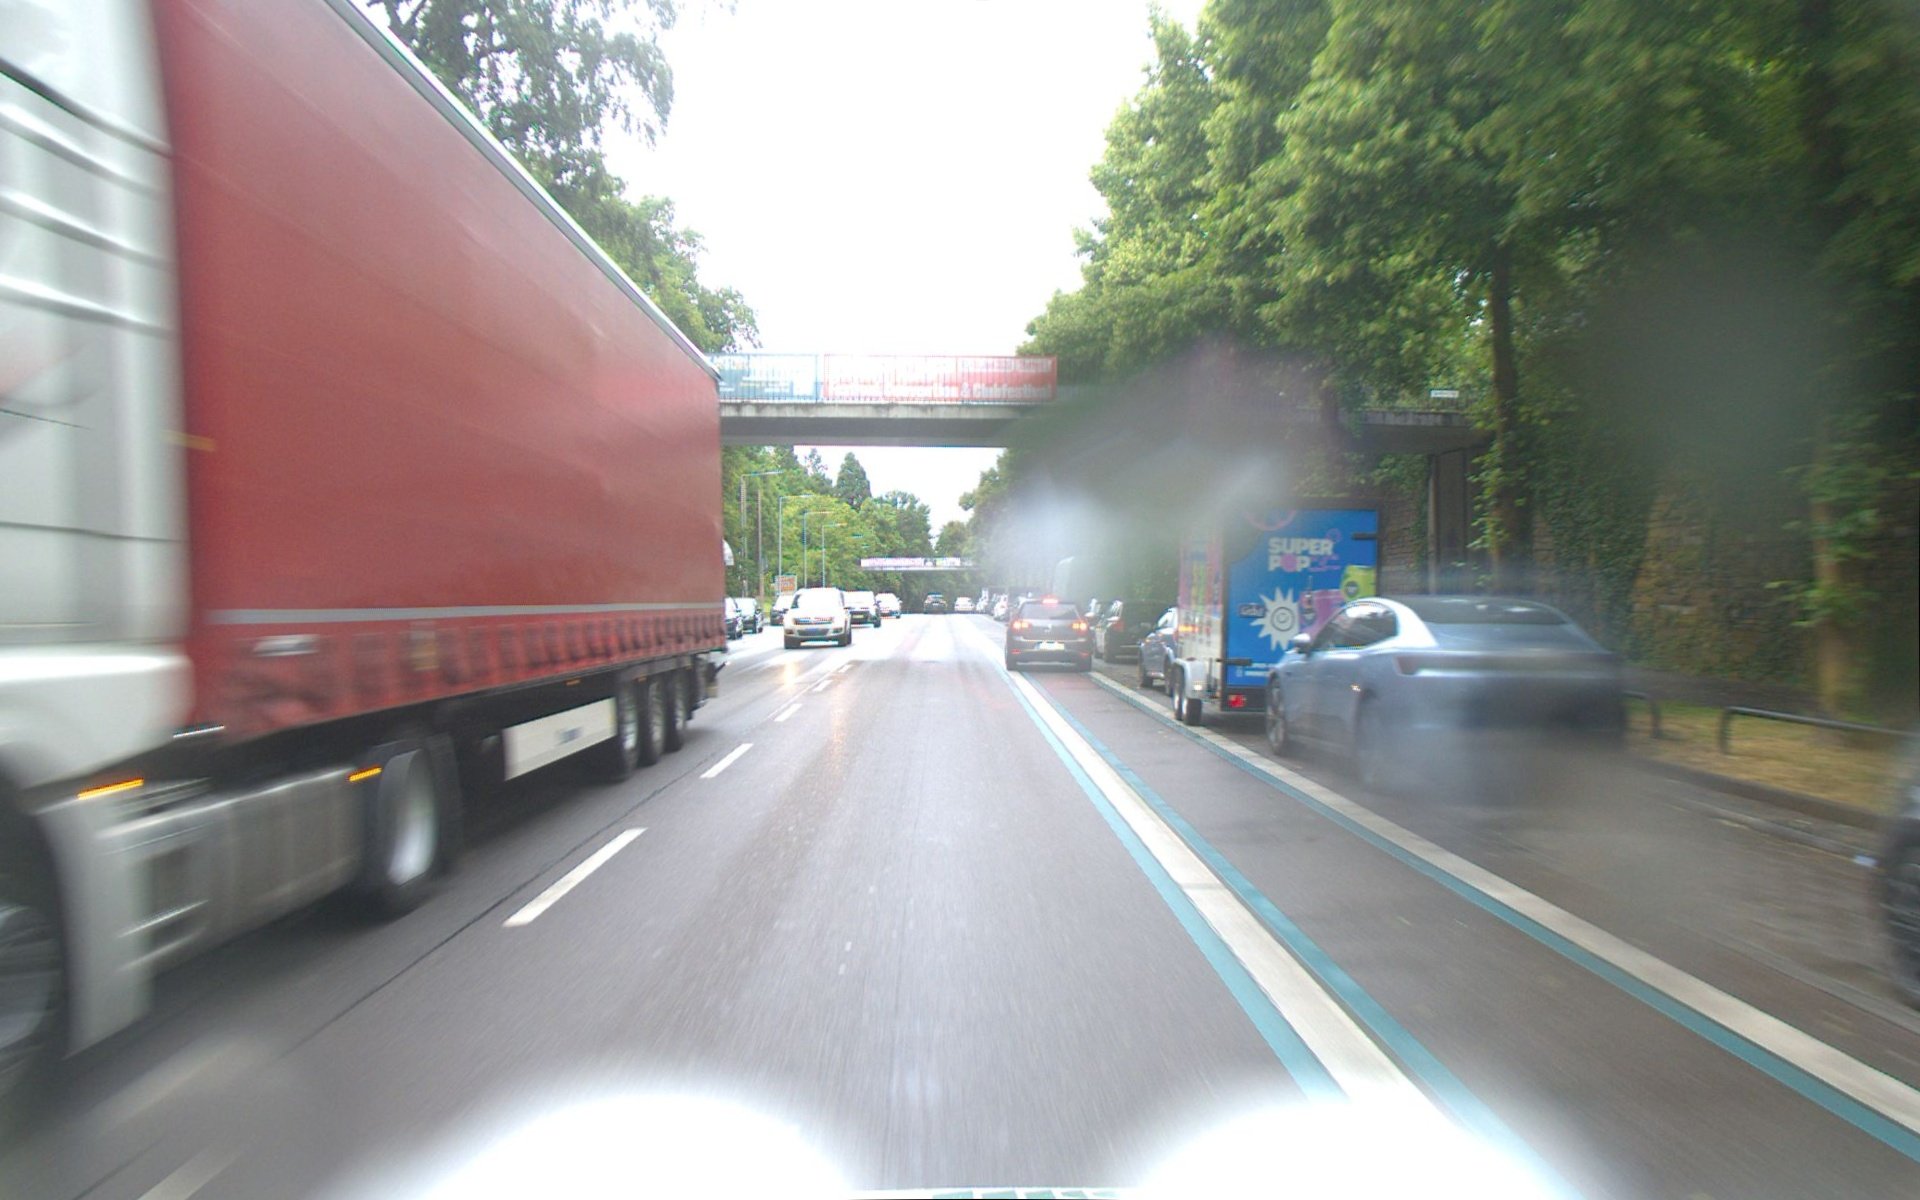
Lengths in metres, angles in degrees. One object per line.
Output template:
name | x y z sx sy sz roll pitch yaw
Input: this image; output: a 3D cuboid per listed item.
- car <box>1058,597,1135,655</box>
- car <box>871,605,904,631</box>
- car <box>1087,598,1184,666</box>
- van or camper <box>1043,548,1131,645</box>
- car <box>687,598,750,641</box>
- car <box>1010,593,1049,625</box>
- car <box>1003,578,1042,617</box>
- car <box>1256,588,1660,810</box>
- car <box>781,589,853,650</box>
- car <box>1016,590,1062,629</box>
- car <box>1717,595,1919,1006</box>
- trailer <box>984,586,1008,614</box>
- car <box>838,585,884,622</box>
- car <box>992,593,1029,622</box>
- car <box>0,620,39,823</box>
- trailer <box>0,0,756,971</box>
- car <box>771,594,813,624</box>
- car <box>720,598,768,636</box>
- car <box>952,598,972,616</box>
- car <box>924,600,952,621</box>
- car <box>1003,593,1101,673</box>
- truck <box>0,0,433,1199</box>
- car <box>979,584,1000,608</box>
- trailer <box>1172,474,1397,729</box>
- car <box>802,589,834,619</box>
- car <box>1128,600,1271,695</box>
car | 3.579 0.654 43.883 1.651 1.441 4.099 0 0 -1
car | -4.588 1.123 105.036 1.882 1.588 4.620 1 0 -1
car | 4.025 0.707 38.444 1.652 1.441 4.195 -1 0 -2
van or camper | 3.848 -0.110 51.245 2.001 2.777 6.898 1 0 -2
car | -8.888 0.696 61.169 1.917 1.488 4.753 0 1 -4
car | 3.337 0.433 80.081 1.651 1.478 4.165 1 0 -1
car | 3.392 -0.151 90.756 1.887 2.057 4.663 0 0 -1
car | 4.072 0.712 14.460 1.861 1.574 4.752 1 1 -3
car | -4.109 0.522 48.067 1.797 1.695 4.179 0 0 -1
car | 3.434 0.400 72.157 1.720 1.617 4.498 1 0 -1
car | 4.506 0.755 5.519 1.788 1.529 4.570 0 0 -1
trailer | 2.896 -0.039 133.922 1.845 2.204 3.808 -1 0 0
car | -4.564 0.138 76.730 1.926 1.656 4.319 -1 0 -2
car | 2.882 0.417 95.654 1.753 1.570 4.887 1 0 -3
car | -7.988 0.949 10.873 1.753 1.508 3.980 -1 1 -3
trailer | -3.799 -0.668 13.307 2.633 4.333 12.767 -3 0 0
car | -8.958 0.466 88.386 2.036 1.508 4.670 -1 1 -4
car | -9.166 0.711 70.446 1.637 1.483 3.992 -1 1 -2
car | 0.152 0.604 151.117 1.696 1.611 4.035 -1 0 -1
car | -1.732 0.803 128.992 2.097 1.518 4.496 0 0 -3
car | 1.829 0.623 34.037 1.781 1.534 4.139 0 0 0
truck | -3.699 -0.519 5.156 2.467 4.117 4.915 -3 0 -1
car | 2.647 -0.378 150.563 1.850 2.164 4.045 0 0 0
trailer | 3.840 0.006 20.241 1.913 2.807 4.006 0 0 -1
car | -9.703 0.266 113.623 1.874 1.965 4.926 -1 1 -2
car | 3.787 0.710 26.714 1.553 1.376 3.860 1 0 -3
